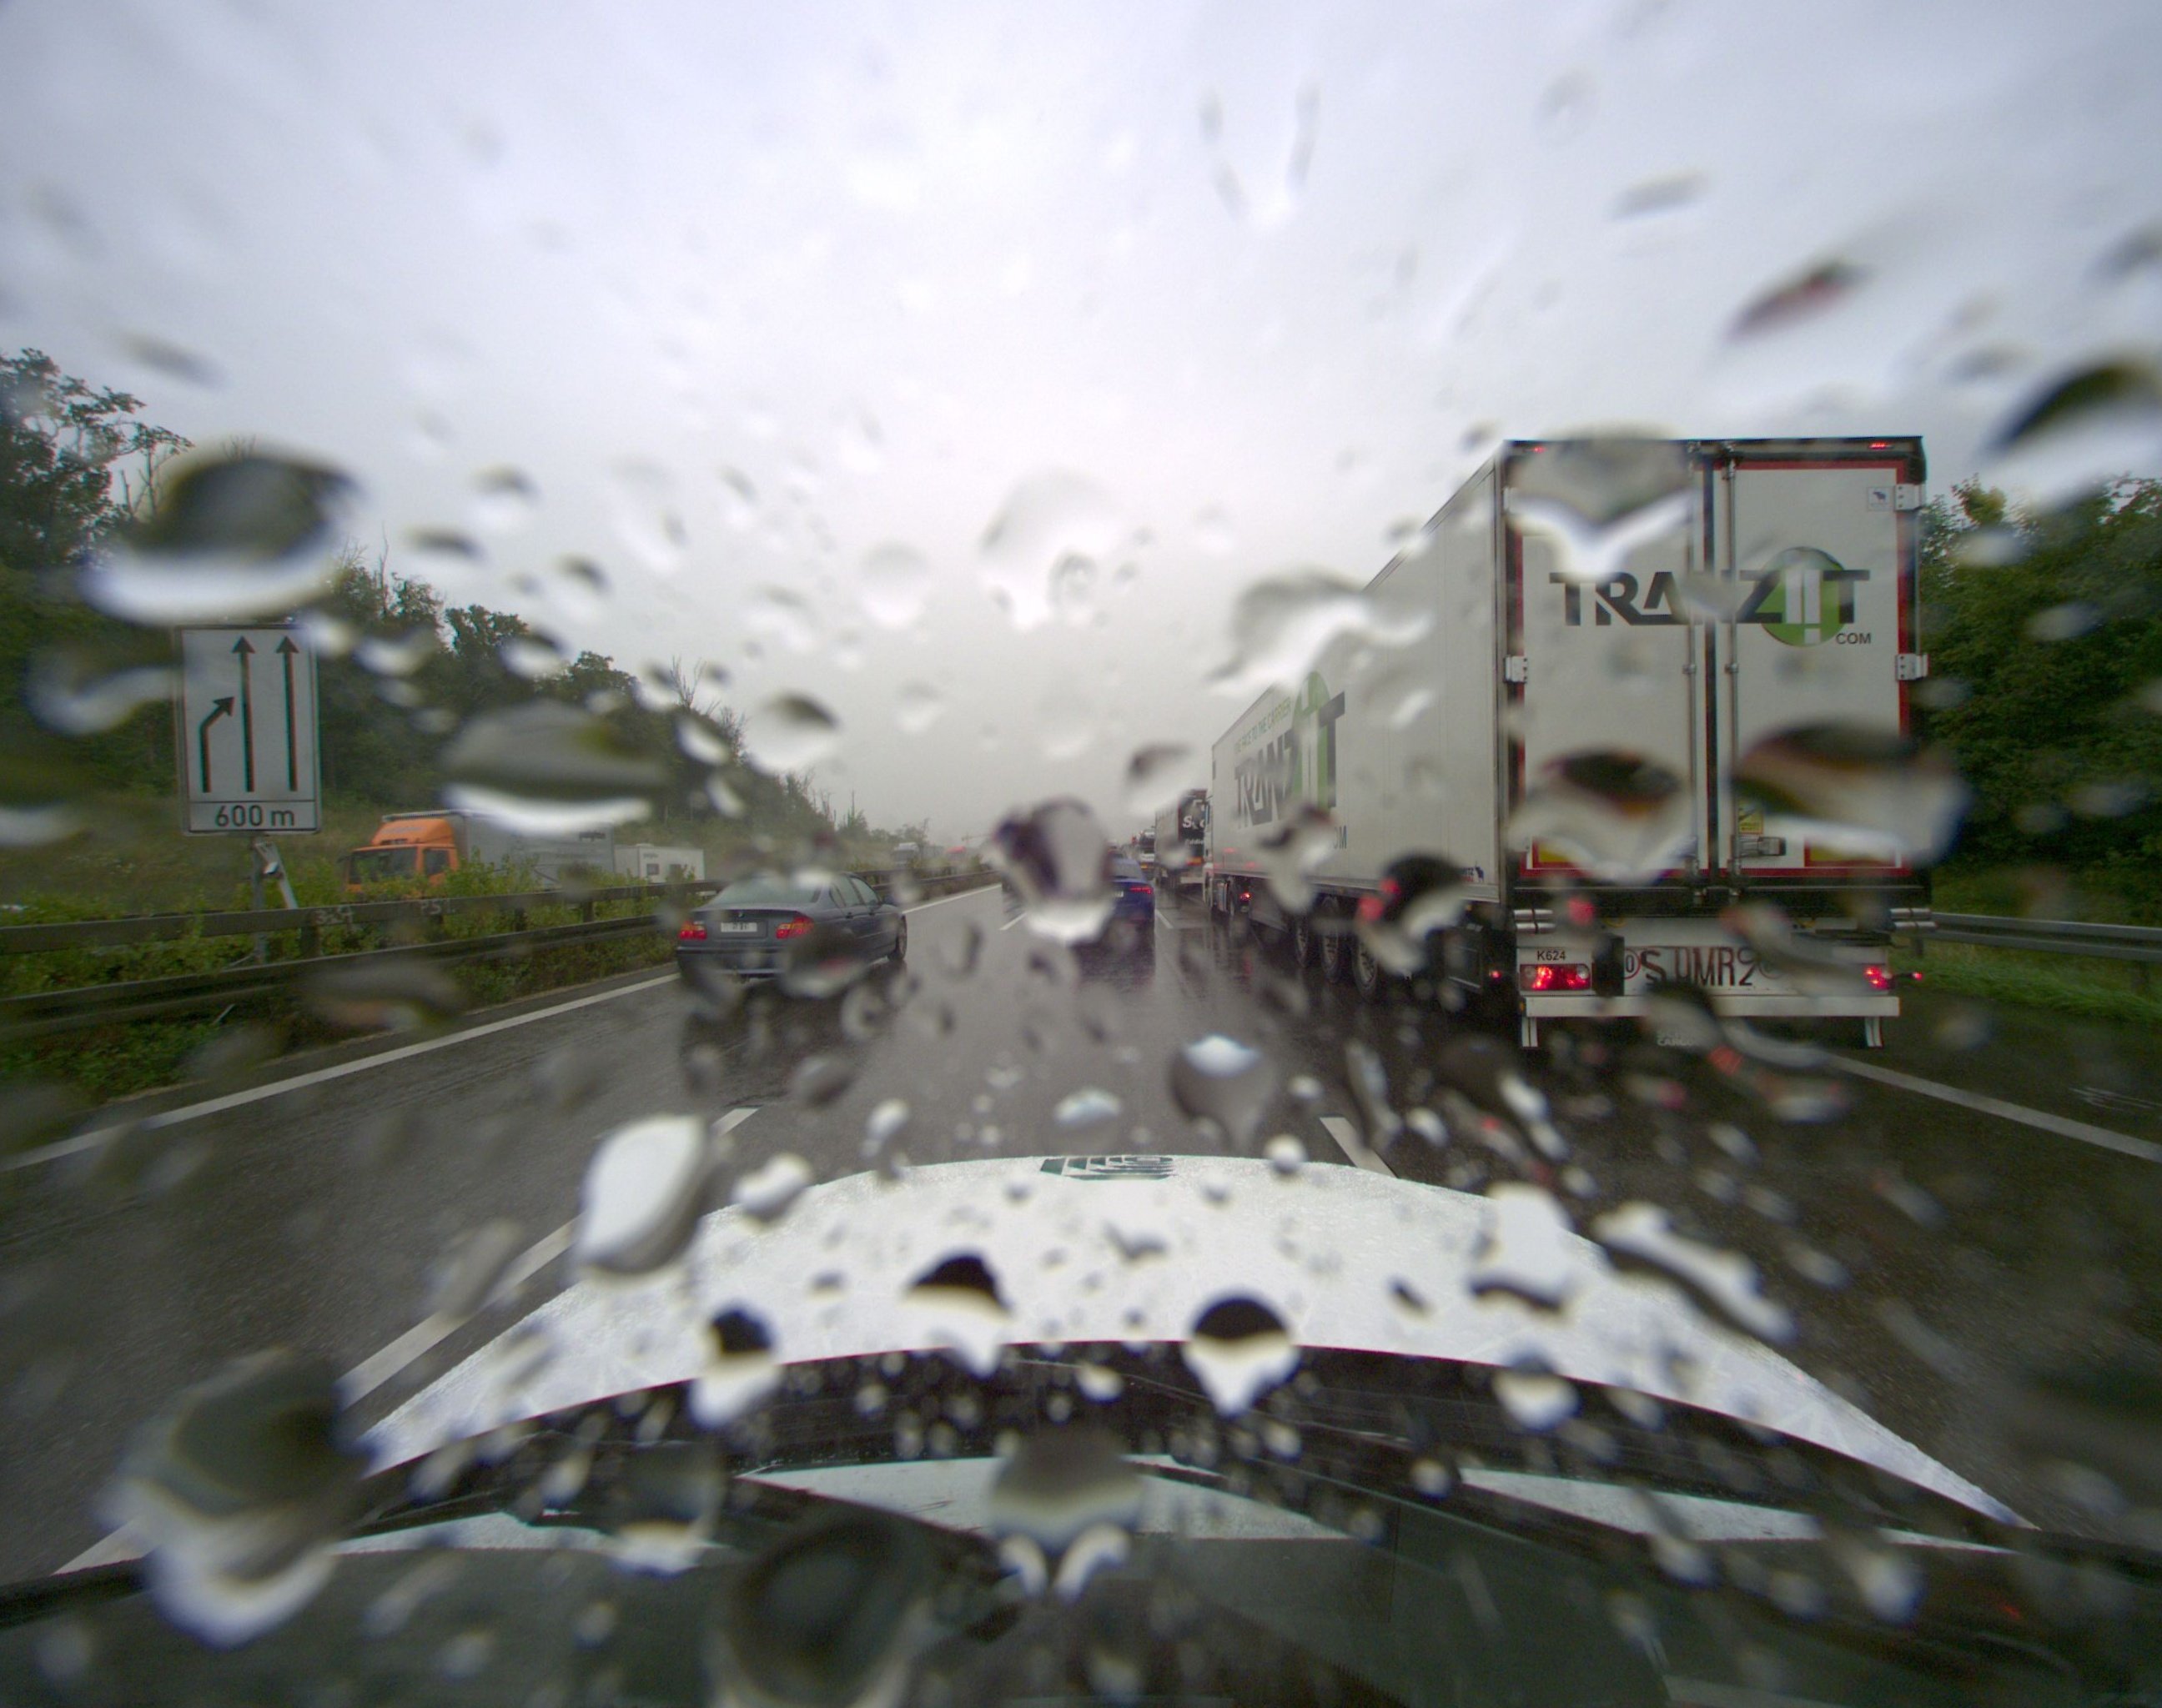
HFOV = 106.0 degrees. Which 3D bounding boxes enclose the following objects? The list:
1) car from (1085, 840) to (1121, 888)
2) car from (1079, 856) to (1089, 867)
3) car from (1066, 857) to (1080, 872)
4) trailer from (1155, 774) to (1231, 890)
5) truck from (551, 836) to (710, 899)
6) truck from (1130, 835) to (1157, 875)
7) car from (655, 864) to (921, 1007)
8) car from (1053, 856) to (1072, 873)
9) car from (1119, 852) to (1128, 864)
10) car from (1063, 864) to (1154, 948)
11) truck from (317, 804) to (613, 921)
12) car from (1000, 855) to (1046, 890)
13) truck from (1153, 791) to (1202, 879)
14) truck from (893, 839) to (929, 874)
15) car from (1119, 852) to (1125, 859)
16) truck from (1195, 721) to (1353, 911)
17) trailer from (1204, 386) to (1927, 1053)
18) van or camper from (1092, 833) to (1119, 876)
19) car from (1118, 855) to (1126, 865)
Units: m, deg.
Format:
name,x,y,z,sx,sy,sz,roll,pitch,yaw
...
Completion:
name,x,y,z,sx,sy,sz,roll,pitch,yaw
car,0.904,0.374,32.610,1.331,1.780,3.323,-1,0,2
car,0.548,1.232,133.766,1.443,1.784,3.411,-1,0,2
car,-0.897,1.125,90.478,1.434,1.533,3.323,-1,0,2
trailer,4.614,-0.832,35.355,2.039,4.176,11.453,-1,0,2
truck,-19.780,0.559,36.451,2.642,2.480,7.893,-1,0,1
truck,5.661,0.012,74.651,1.987,3.421,8.033,-1,1,1
car,-3.472,0.878,10.598,1.711,1.400,4.233,-1,0,3
car,-1.641,0.944,73.233,1.434,1.420,3.323,-1,0,2
car,6.588,0.603,126.426,1.443,1.784,3.411,-1,0,2
car,0.603,0.983,16.964,1.629,1.445,4.003,-1,0,3
truck,-20.206,0.201,27.821,2.915,3.281,9.256,-1,1,1
car,-2.728,0.853,39.282,1.714,1.523,4.003,-1,0,3
truck,4.814,-0.909,41.036,2.039,4.193,4.002,-1,0,2
truck,-17.886,0.288,85.842,2.677,3.611,4.606,-1,0,1
car,11.054,0.437,218.145,1.443,1.784,3.411,-1,0,2
truck,4.269,-0.783,18.971,2.620,3.827,4.793,-1,0,2
trailer,4.041,-0.850,12.280,2.620,4.013,14.636,-1,0,2
van or camper,1.713,0.026,56.559,1.790,2.806,4.770,-1,0,2
car,6.977,0.970,138.907,1.244,1.512,3.109,-2,1,2
